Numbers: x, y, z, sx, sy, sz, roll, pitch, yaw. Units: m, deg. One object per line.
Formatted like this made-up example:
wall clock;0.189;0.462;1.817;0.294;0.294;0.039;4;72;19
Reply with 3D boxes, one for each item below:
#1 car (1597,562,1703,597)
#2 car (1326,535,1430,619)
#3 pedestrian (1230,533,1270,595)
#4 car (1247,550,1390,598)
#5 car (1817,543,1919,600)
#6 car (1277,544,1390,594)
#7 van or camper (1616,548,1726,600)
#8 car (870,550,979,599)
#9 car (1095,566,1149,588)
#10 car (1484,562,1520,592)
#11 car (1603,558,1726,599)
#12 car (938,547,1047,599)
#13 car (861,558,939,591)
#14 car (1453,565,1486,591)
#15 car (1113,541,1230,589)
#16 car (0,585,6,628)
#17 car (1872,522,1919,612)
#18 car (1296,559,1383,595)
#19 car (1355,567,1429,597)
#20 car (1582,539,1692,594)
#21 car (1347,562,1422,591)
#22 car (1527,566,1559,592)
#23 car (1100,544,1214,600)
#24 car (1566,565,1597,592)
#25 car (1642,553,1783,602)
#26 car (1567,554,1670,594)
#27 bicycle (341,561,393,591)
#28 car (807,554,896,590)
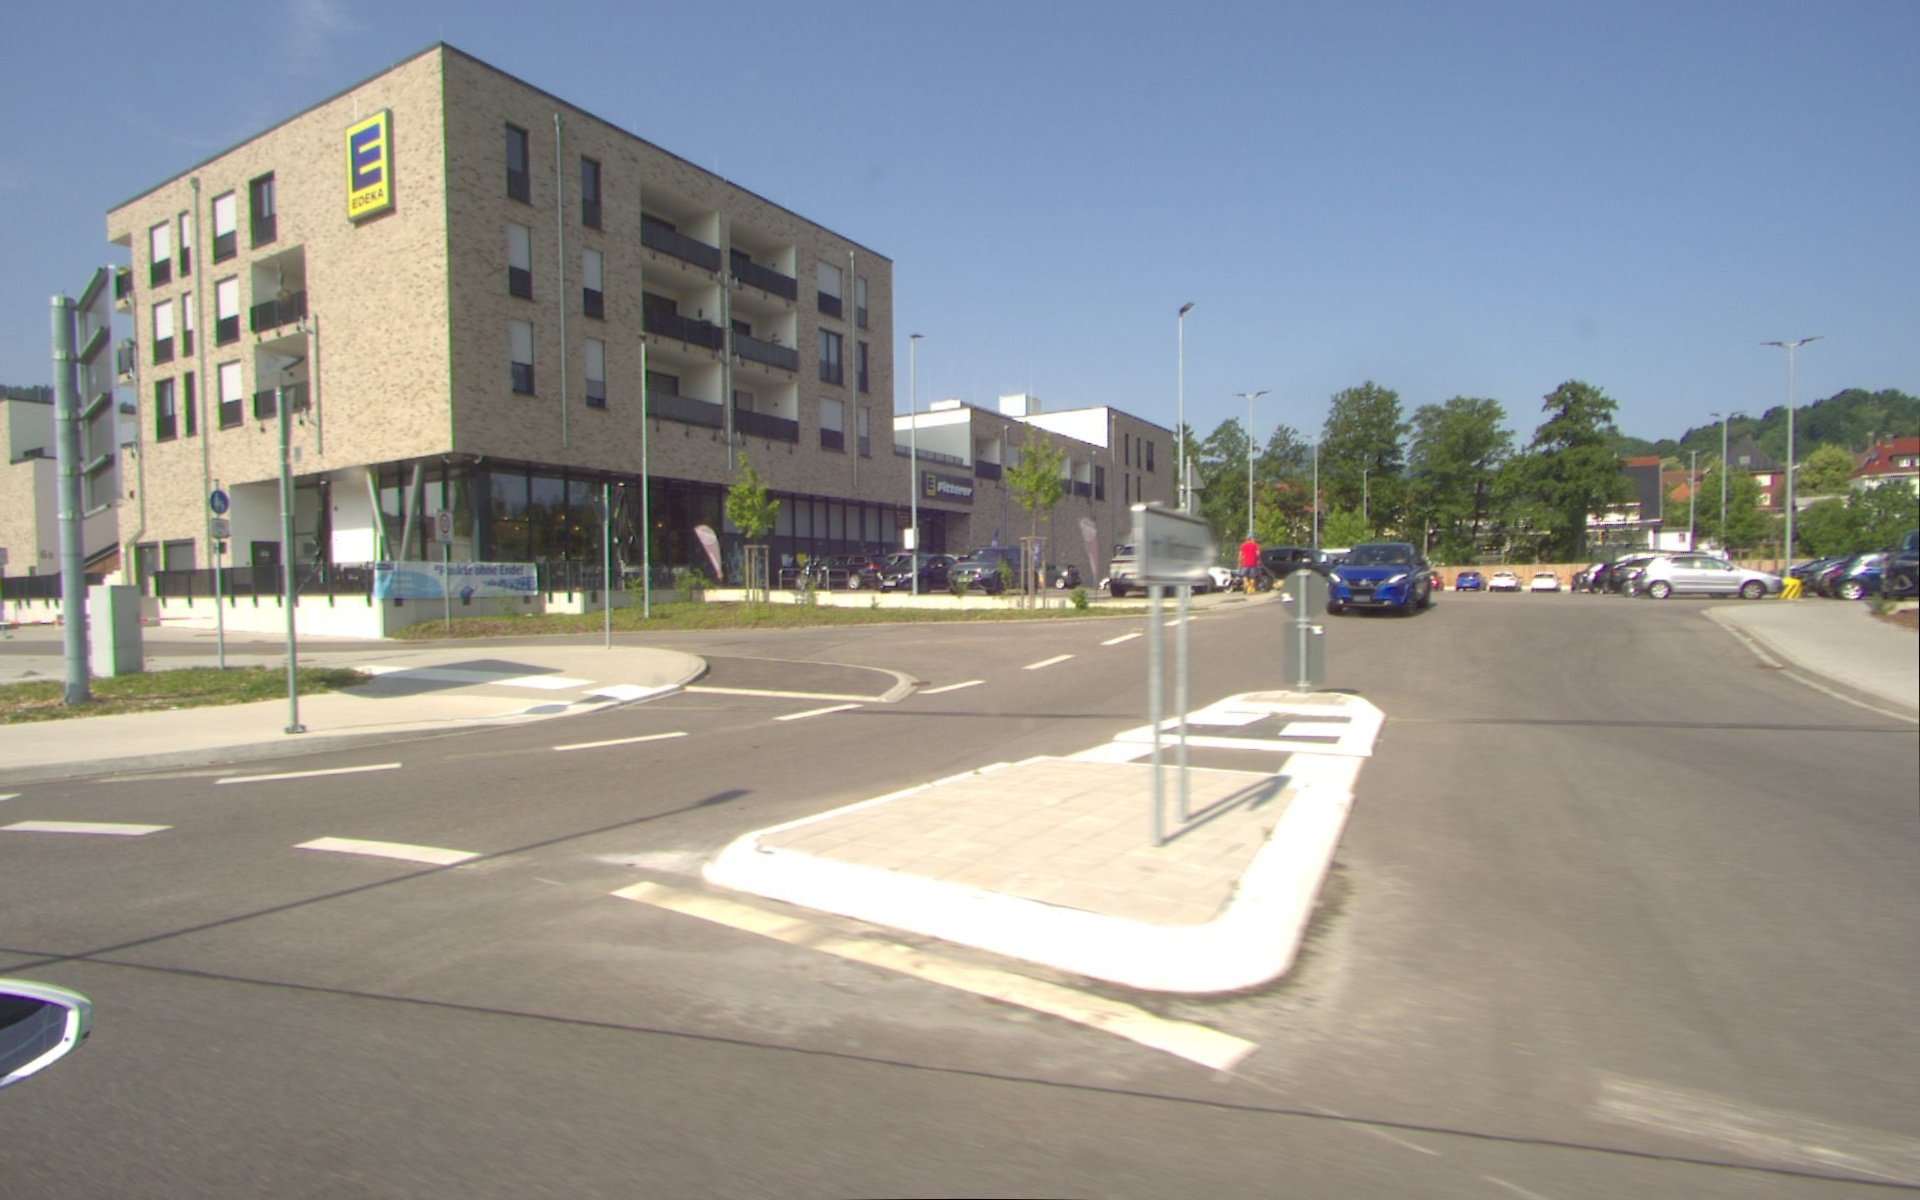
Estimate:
car;30.032;-0.872;43.690;3.571;1.464;1.521;0;-1;25
car;9.865;-0.608;23.456;1.858;1.687;4.331;0;5;28
pedestrian;8.523;-1.038;29.457;0.864;1.763;0.757;1;-1;-12
car;11.602;-0.849;32.629;1.624;1.412;4.195;-4;3;-38
car;28.200;-0.823;29.917;3.734;1.594;1.754;0;-1;34
car;16.497;-1.342;44.238;4.568;2.040;1.995;0;-1;23
van or camper;42.337;-1.490;59.837;5.211;2.884;2.283;0;-1;33
car;-1.177;-0.962;35.354;1.829;1.578;4.436;3;4;30
car;10.946;-1.537;67.720;3.277;1.368;1.623;0;-1;24
car;40.533;-1.686;74.816;1.973;2.039;3.977;0;-1;35
car;24.987;-0.756;35.636;3.311;1.392;1.520;1;0;26
car;1.166;-0.964;33.535;1.829;1.578;4.436;3;4;30
car;-2.725;-1.144;45.283;3.286;1.368;1.483;0;-1;34
car;39.118;-1.662;76.776;1.743;1.839;3.977;0;-1;35
car;8.955;-1.418;42.511;4.512;1.905;1.990;0;1;32
car;-35.540;0.314;34.565;1.566;1.515;3.409;-2;1;16
car;19.581;-0.580;19.805;1.898;1.550;4.828;0;-2;38
car;15.827;-0.928;41.767;3.278;1.368;1.623;-1;-1;25
car;25.981;-1.042;60.250;3.938;1.696;1.993;0;-1;28
car;34.617;-1.652;51.349;4.581;2.651;1.990;0;-1;33
car;23.513;-1.269;55.608;3.748;1.491;1.768;0;-1;23
car;42.802;-1.488;73.510;1.712;1.683;3.977;0;-1;35
car;6.167;-0.932;30.957;1.831;1.578;4.792;3;4;32
car;44.575;-1.502;71.751;1.712;1.683;3.977;0;-1;35
car;24.318;-0.697;32.516;3.582;1.464;1.517;0;-1;35
car;35.753;-1.378;54.510;4.581;2.001;1.990;0;-1;33
bicycle;-21.578;-0.861;36.426;2.212;1.058;0.690;0;-1;31
car;-4.397;-1.111;40.519;3.278;1.368;1.486;0;-1;26
